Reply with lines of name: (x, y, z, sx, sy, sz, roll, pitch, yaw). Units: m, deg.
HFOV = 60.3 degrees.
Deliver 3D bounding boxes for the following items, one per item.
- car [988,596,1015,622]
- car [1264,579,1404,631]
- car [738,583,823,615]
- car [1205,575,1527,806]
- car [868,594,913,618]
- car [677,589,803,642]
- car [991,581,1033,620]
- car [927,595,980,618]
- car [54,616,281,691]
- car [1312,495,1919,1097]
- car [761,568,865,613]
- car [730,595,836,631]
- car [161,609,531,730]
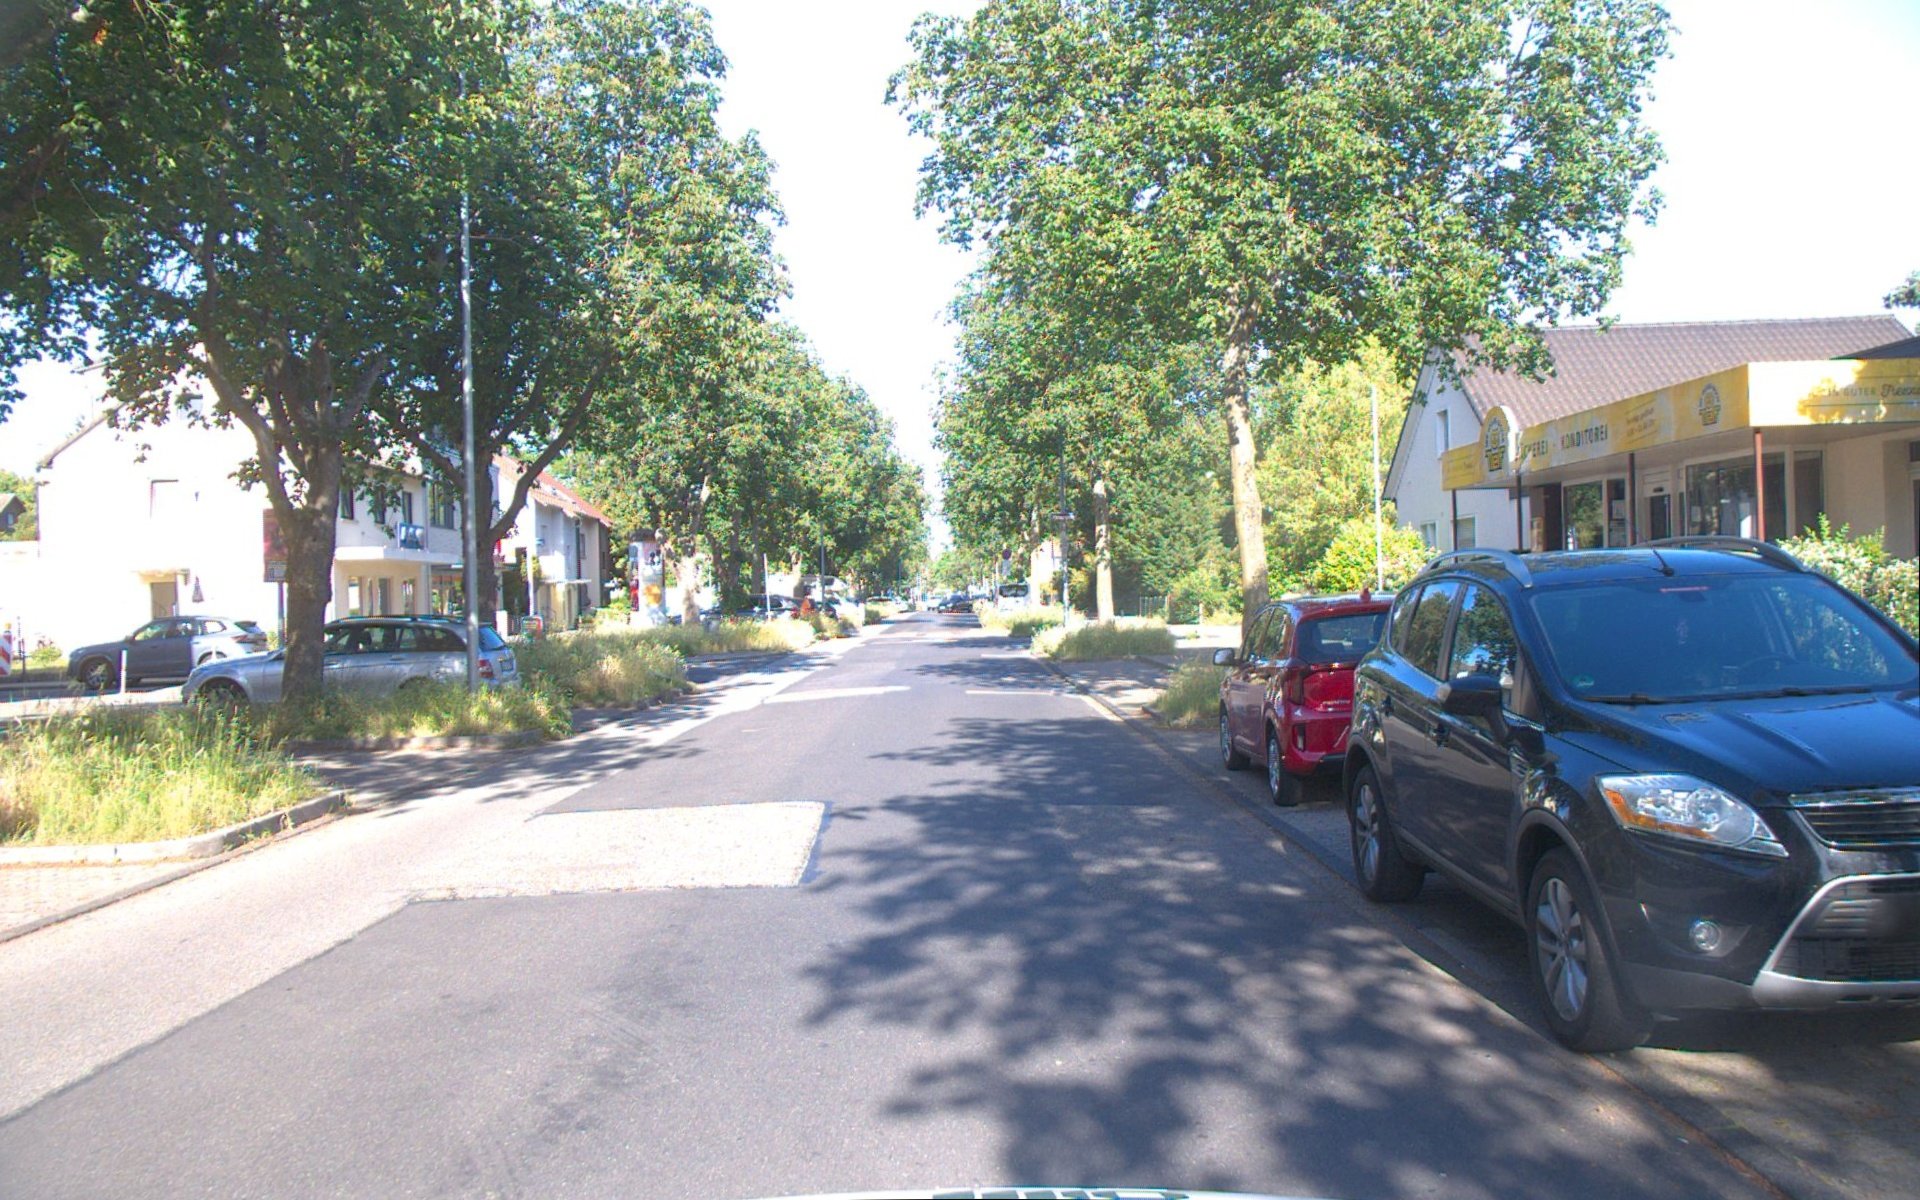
car: (2.934, 0.638, 118.047, 1.864, 1.805, 4.301, 0, 0, 0)
car: (12.273, 0.153, 54.454, 4.199, 1.637, 2.000, 0, 2, 0)
car: (-8.590, -0.032, 79.316, 3.794, 1.505, 1.895, 0, 0, 2)
car: (3.109, 0.631, 13.442, 1.662, 1.504, 3.888, -4, 0, 1)
car: (-6.336, 0.535, 151.748, 3.903, 2.048, 2.001, 0, 2, 4)
car: (-8.053, 0.555, 60.862, 4.457, 1.796, 1.998, -1, 2, -5)
car: (2.474, 0.009, 79.718, 1.864, 1.805, 4.301, 0, 0, 0)
car: (-0.543, 0.531, 135.114, 3.957, 1.672, 1.974, -2, 2, -37)
car: (-18.970, 1.258, 39.773, 4.465, 1.646, 1.999, -1, 2, -4)
car: (2.915, 0.535, 6.912, 1.815, 1.654, 4.469, -3, 0, -1)
car: (-7.847, -0.523, 88.666, 5.387, 2.286, 2.516, 0, 2, -2)
car: (-7.145, 0.524, 66.975, 4.203, 1.338, 1.907, -1, 2, -5)
car: (-8.492, 0.939, 23.176, 4.461, 1.537, 1.841, 0, 2, -1)
